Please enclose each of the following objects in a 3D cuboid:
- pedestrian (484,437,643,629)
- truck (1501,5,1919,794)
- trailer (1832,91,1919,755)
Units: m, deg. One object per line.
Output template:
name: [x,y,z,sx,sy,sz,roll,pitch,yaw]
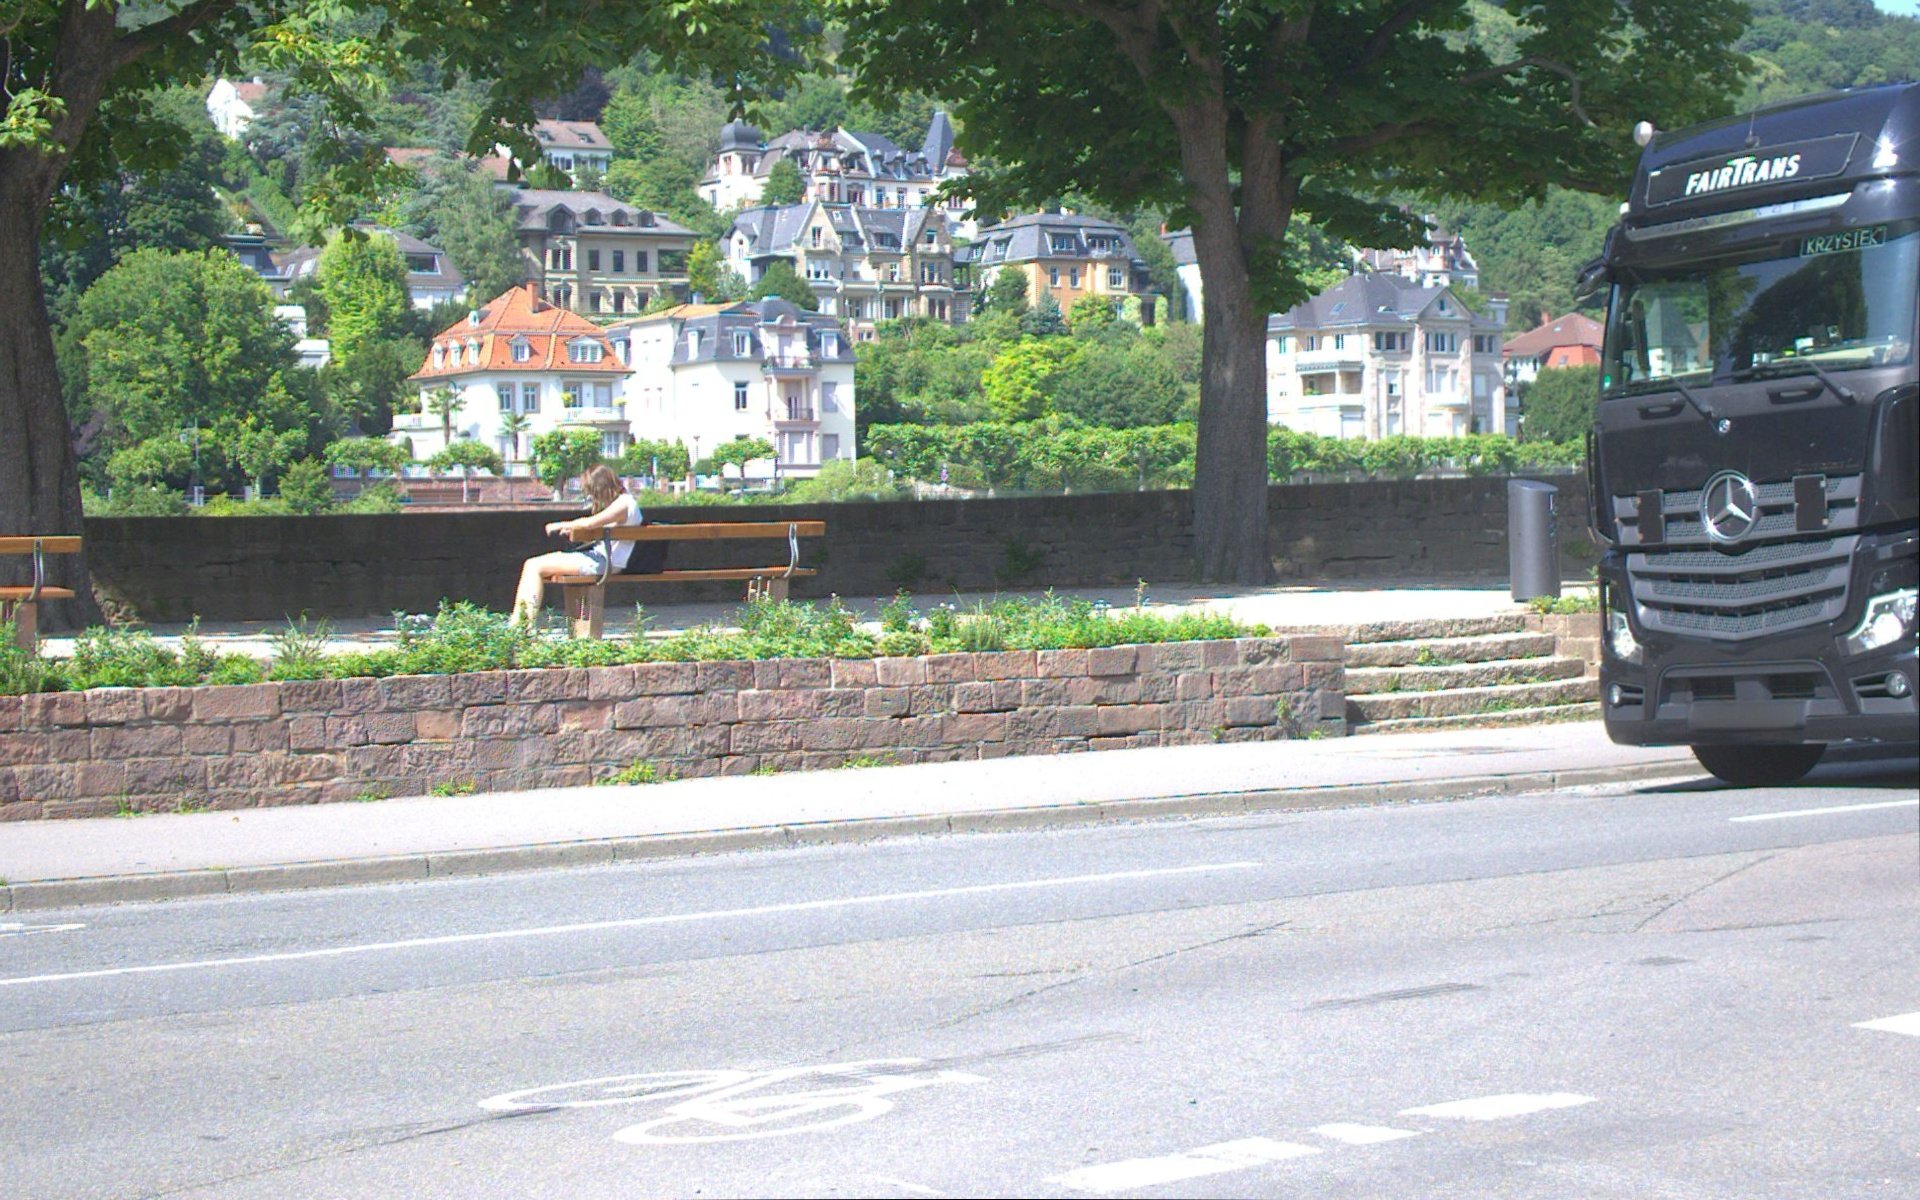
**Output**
pedestrian: [-2.624,-0.429,22.733,0.797,1.207,0.715,1,-4,-32]
truck: [6.447,-1.074,20.537,5.914,4.057,2.839,-2,-1,-36]
trailer: [11.984,-1.319,24.543,13.729,4.090,2.842,-2,-1,-36]
